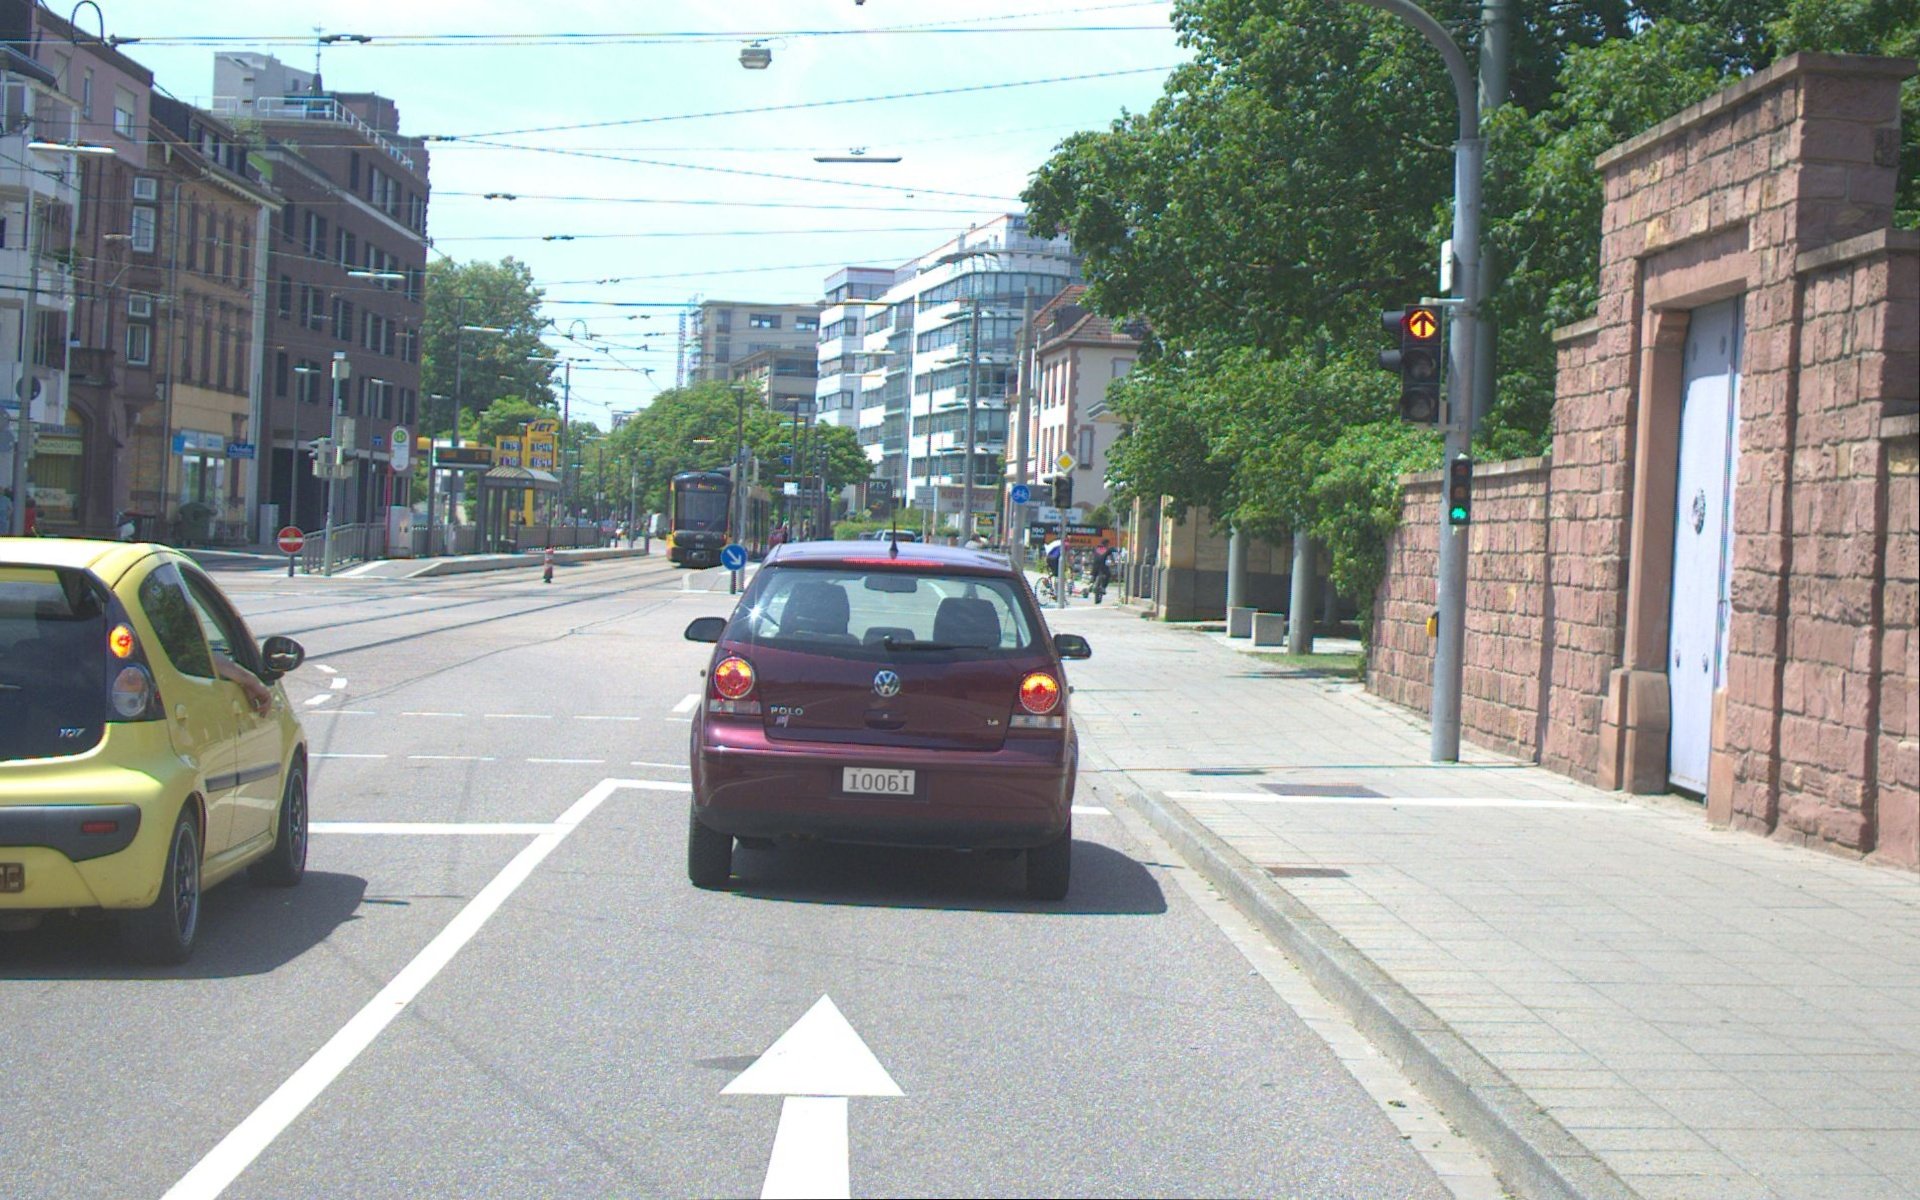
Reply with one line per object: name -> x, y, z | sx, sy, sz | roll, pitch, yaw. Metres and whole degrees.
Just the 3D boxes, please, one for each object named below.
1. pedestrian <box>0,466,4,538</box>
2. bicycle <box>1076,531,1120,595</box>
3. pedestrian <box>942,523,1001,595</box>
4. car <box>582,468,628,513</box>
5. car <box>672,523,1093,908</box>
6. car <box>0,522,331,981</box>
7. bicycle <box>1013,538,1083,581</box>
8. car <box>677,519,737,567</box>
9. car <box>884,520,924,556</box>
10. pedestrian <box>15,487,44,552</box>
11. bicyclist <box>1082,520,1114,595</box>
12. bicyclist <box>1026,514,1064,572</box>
pedestrian -> -23.598, -2.387, 83.341 | 0.609, 1.748, 0.505 | 1, 0, -45
bicycle -> 3.393, -0.904, 84.668 | 0.835, 1.520, 4.000 | 1, 0, -1
pedestrian -> 0.267, -0.985, 82.197 | 0.982, 1.655, 0.918 | 1, 1, -44
car -> -16.689, -5.123, 161.807 | 1.735, 2.007, 4.000 | 2, 1, -1
car -> -0.358, 0.419, 15.710 | 1.610, 1.458, 4.086 | 3, 1, -1
car -> -3.452, 0.450, 12.679 | 1.723, 1.440, 3.293 | 1, 2, -1
bicycle -> 2.132, -0.981, 82.962 | 0.579, 1.004, 1.866 | 1, 0, 44
car -> -9.140, -2.056, 124.545 | 1.938, 1.635, 4.000 | 1, 0, -1
car -> -2.286, -2.519, 138.928 | 1.572, 1.411, 3.720 | 0, 1, -1
pedestrian -> -22.429, -1.941, 82.864 | 0.484, 1.535, 0.538 | 1, 0, 9
bicyclist -> 3.421, -1.051, 85.154 | 0.721, 1.812, 0.888 | 1, 0, -1
bicyclist -> 2.059, -1.373, 82.873 | 0.506, 1.401, 0.766 | 1, 0, 44
